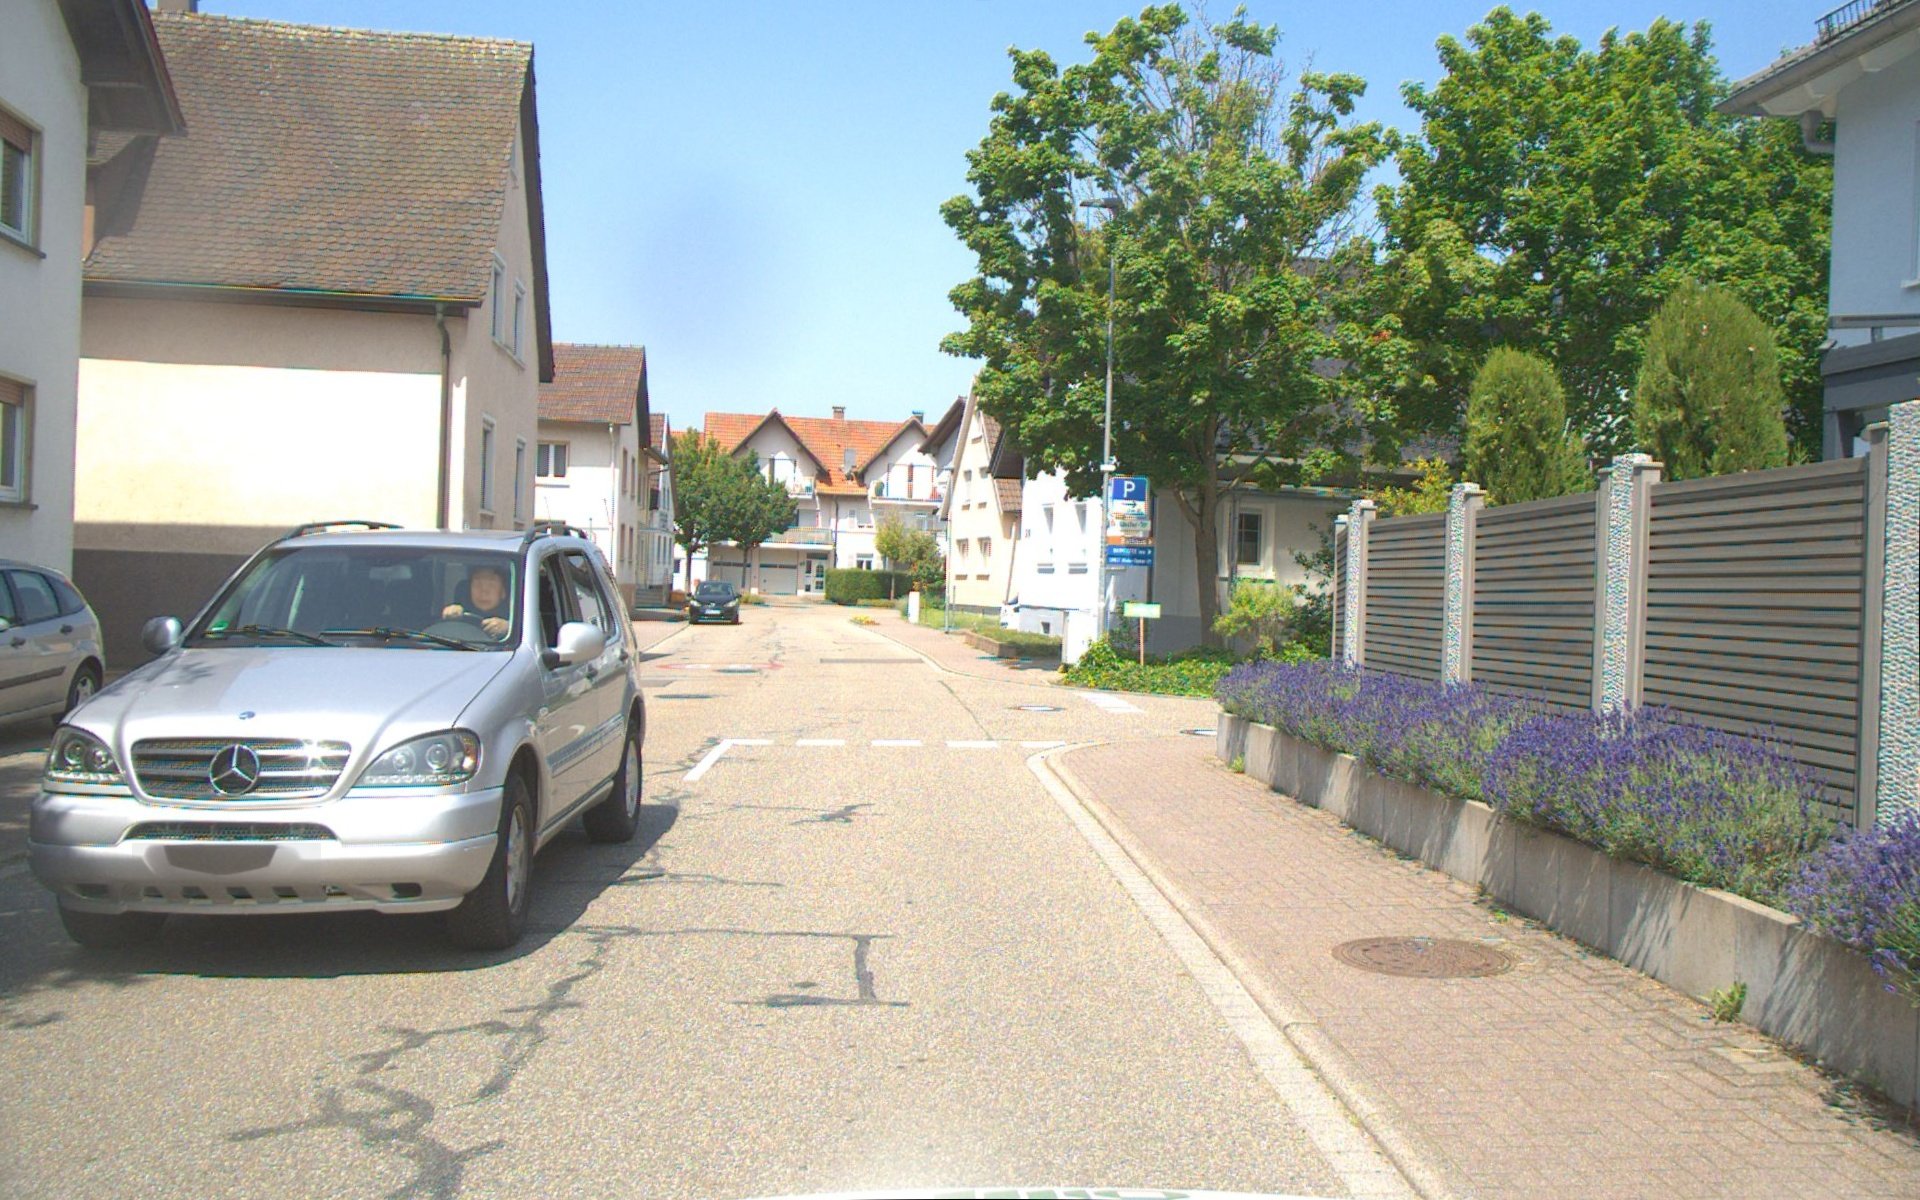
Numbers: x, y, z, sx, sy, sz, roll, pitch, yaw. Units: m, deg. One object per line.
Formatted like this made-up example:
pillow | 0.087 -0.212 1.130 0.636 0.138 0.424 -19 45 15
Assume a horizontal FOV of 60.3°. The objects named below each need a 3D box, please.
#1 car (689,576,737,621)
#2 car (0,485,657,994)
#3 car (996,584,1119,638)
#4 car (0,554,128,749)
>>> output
car | -8.644 -0.076 57.969 1.596 1.512 3.993 1 1 -8
car | -2.719 0.462 8.036 1.847 1.798 4.329 0 1 -2
car | 2.572 0.291 43.811 2.991 1.369 1.417 1 -1 -14
car | -8.119 0.362 12.633 1.744 1.459 4.051 2 1 -5
